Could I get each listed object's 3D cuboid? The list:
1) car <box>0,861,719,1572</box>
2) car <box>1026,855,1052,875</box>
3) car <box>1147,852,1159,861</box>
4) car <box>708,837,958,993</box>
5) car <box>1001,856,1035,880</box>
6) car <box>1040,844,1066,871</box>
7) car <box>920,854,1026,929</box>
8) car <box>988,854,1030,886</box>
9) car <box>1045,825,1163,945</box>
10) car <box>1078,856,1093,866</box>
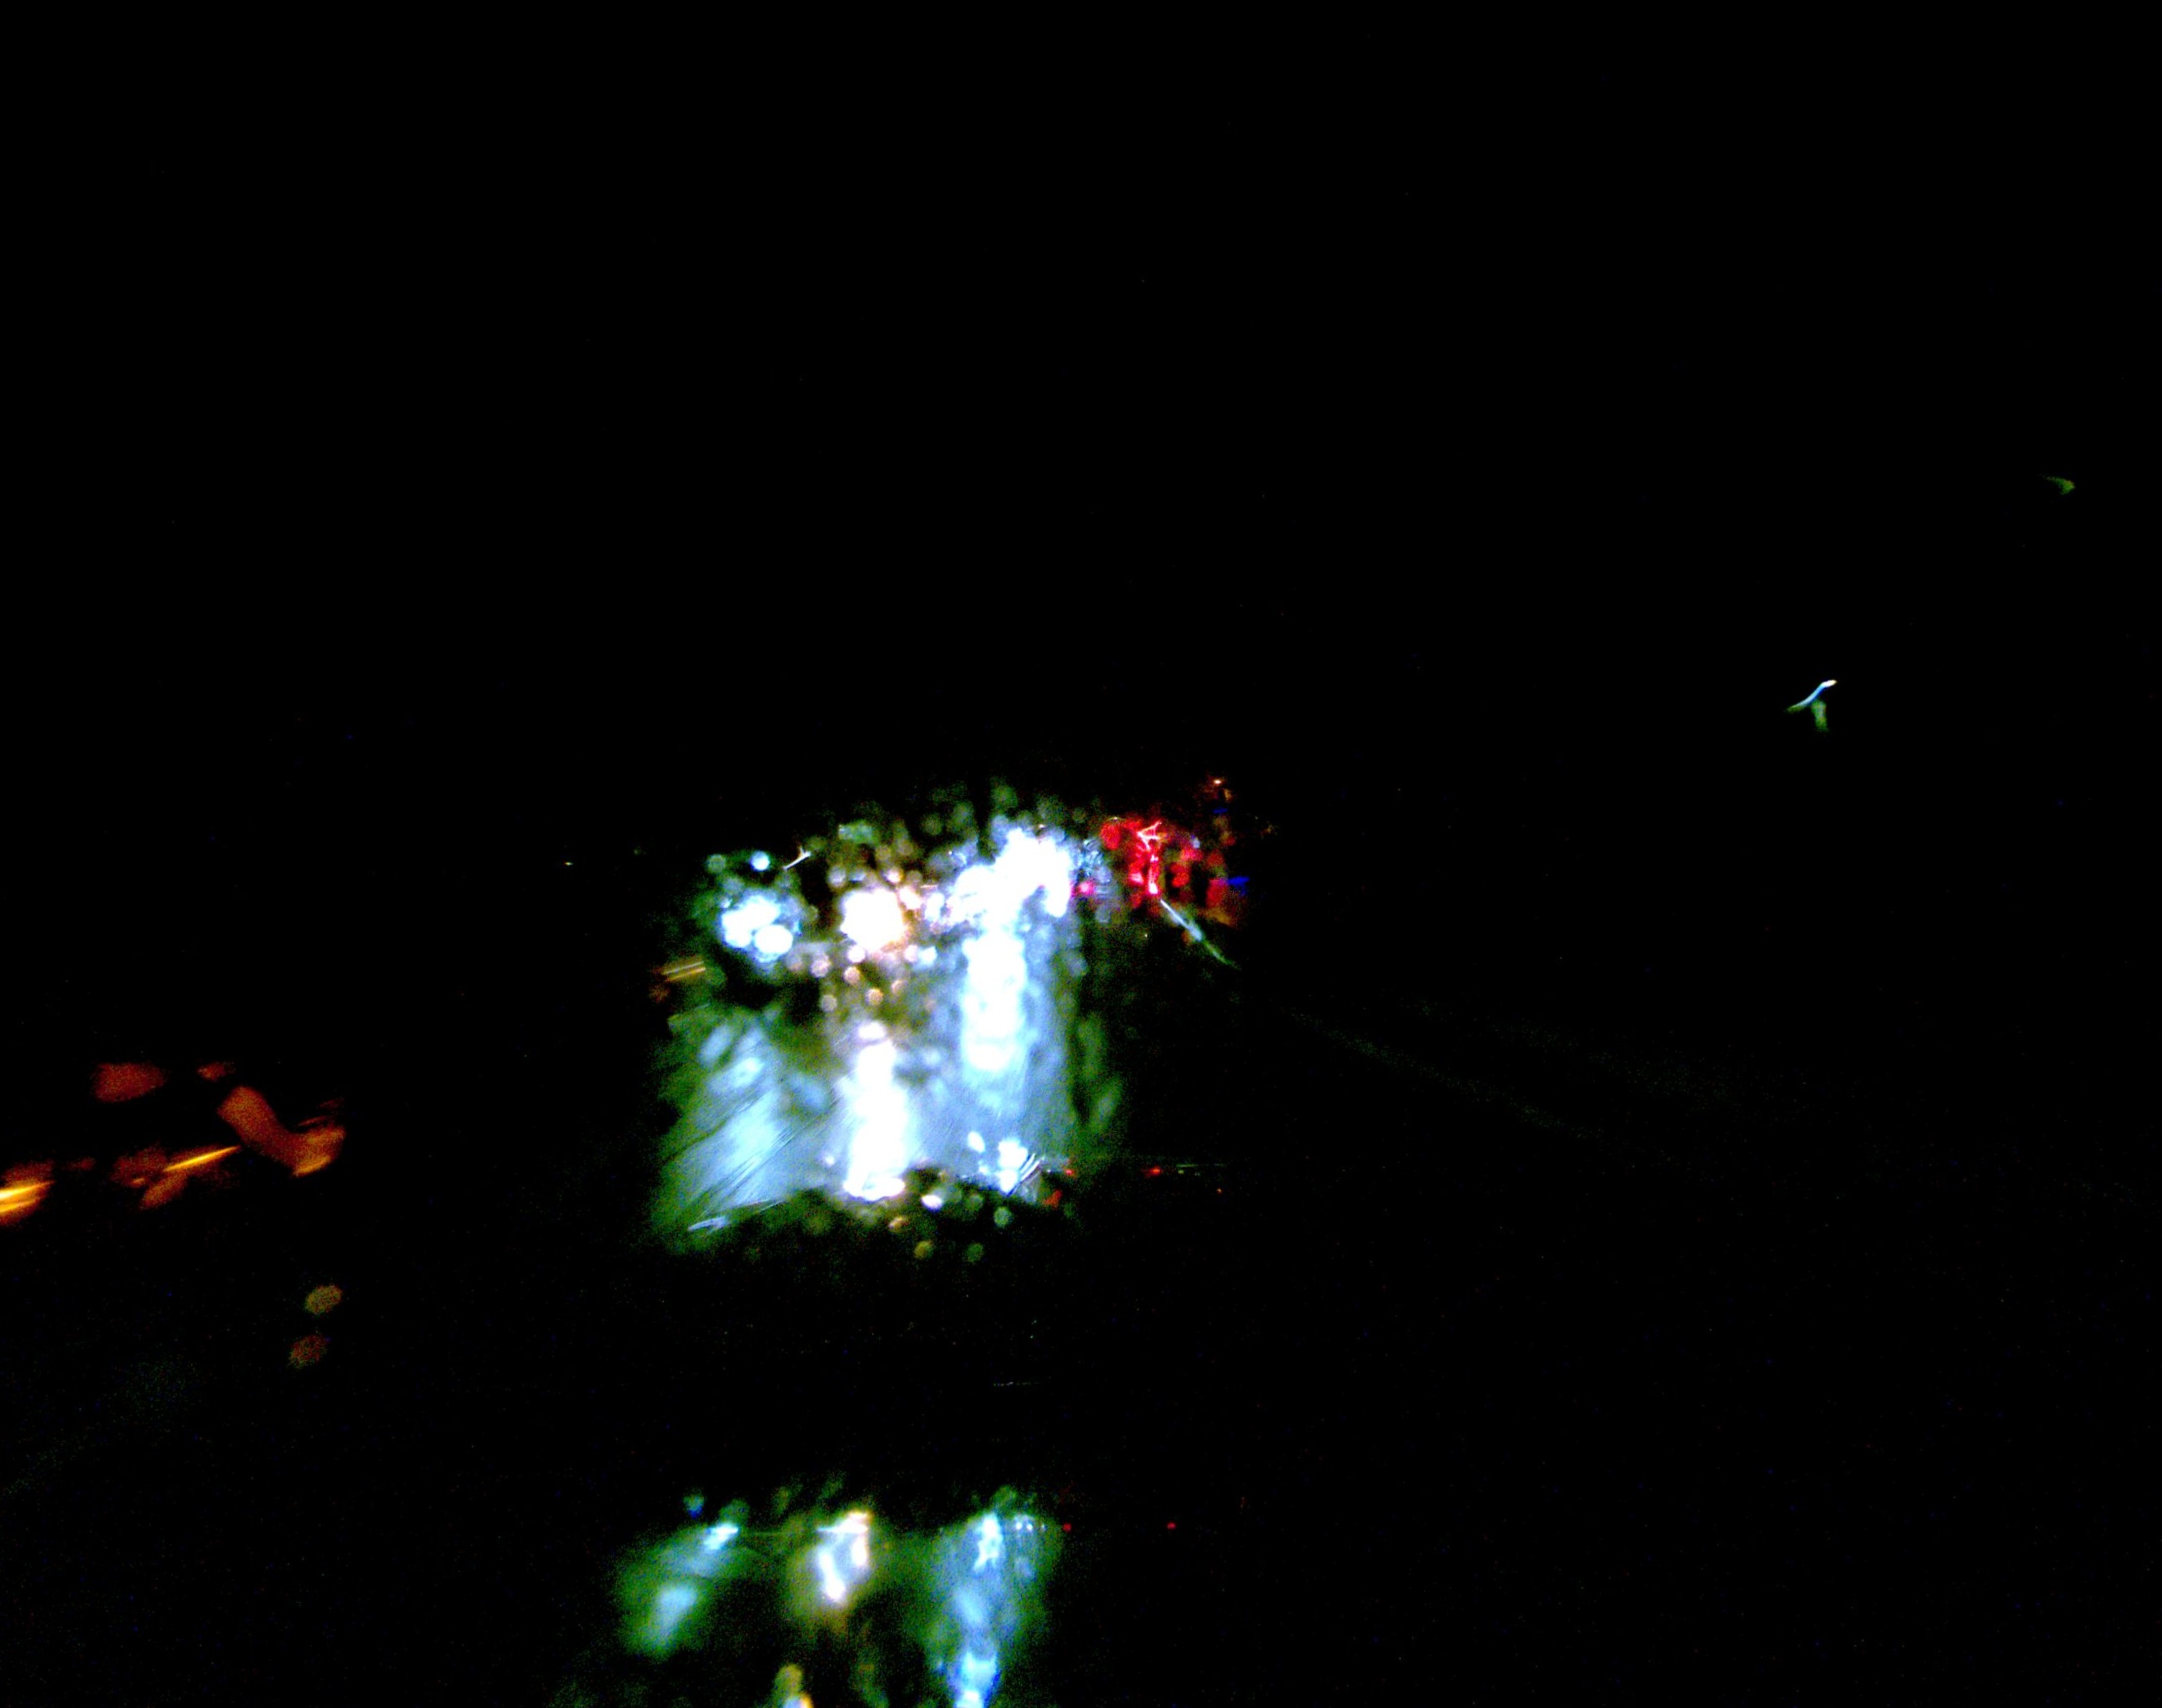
[{"bbox_3d":[-3.082,0.794,3.076,1.616,1.473,3.885,-1,0,1],"label":"car"},{"bbox_3d":[-3.427,0.869,67.528,1.713,1.588,4.315,0,0,3],"label":"car"},{"bbox_3d":[11.670,0.461,132.695,1.653,1.450,4.059,-1,-1,9],"label":"car"},{"bbox_3d":[-3.019,0.659,11.022,1.837,1.668,4.448,-1,0,2],"label":"car"},{"bbox_3d":[-4.040,0.895,52.713,1.713,1.508,3.830,0,0,3],"label":"car"},{"bbox_3d":[-2.835,0.353,83.724,2.114,2.707,6.245,0,0,3],"label":"car"},{"bbox_3d":[-2.474,0.803,19.721,1.837,1.575,4.598,-1,0,1],"label":"car"},{"bbox_3d":[-3.845,0.832,44.130,1.799,1.630,4.416,0,0,1],"label":"car"},{"bbox_3d":[0.429,0.519,15.608,1.935,1.972,4.219,-1,0,1],"label":"car"},{"bbox_3d":[0.722,0.974,122.175,2.069,1.449,4.994,0,0,2],"label":"car"}]
